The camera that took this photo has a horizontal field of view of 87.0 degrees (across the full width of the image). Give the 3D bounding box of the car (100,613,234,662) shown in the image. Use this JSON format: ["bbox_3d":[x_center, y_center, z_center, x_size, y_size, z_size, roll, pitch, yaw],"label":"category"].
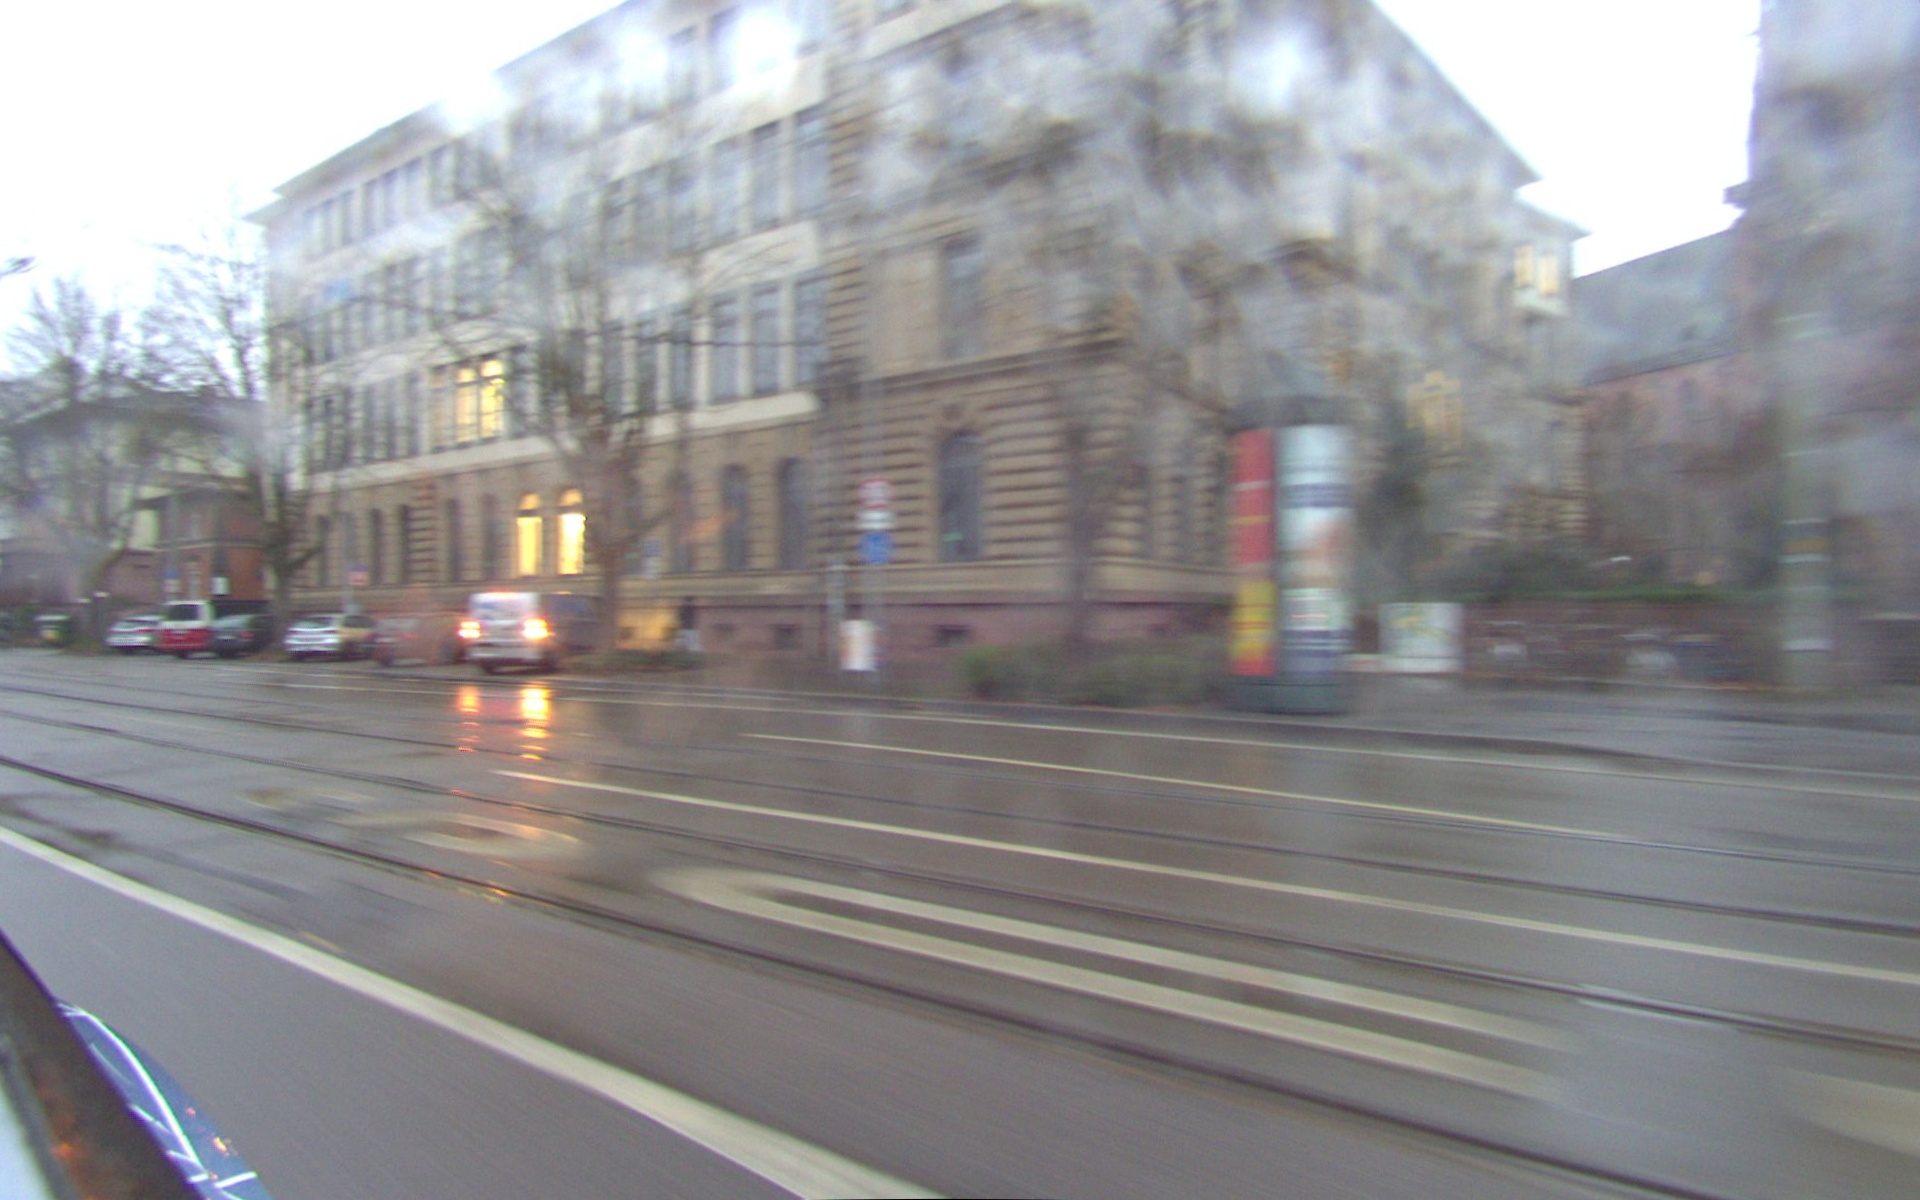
[{"bbox_3d":[-30.875,1.410,39.565,1.753,1.602,4.179,-1,1,4],"label":"car"}]

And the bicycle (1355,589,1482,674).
[{"bbox_3d":[9.755,0.661,21.570,2.392,1.701,0.714,-2,1,-5],"label":"bicycle"}]

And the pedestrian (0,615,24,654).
[{"bbox_3d":[-42.837,1.540,45.326,0.938,1.716,0.920,-1,1,12],"label":"pedestrian"}]

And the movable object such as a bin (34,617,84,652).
[{"bbox_3d":[-40.599,1.543,45.602,1.324,1.475,0.987,-2,1,-3],"label":"movable object such as a bin"}]

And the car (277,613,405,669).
[{"bbox_3d":[-19.273,1.234,31.700,1.614,1.468,3.827,-2,1,0],"label":"car"}]

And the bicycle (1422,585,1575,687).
[{"bbox_3d":[9.664,0.625,18.183,2.392,1.701,0.714,-2,1,-5],"label":"bicycle"}]

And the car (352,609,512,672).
[{"bbox_3d":[-14.900,1.087,28.878,1.779,1.468,4.468,-1,1,7],"label":"car"}]

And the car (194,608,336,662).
[{"bbox_3d":[-23.467,1.141,34.371,1.801,1.551,3.969,-1,1,6],"label":"car"}]

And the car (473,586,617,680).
[{"bbox_3d":[-10.294,0.729,25.523,1.884,2.049,4.809,-2,1,-4],"label":"car"}]

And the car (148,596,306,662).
[{"bbox_3d":[-26.015,0.976,36.155,1.942,2.069,4.614,-1,1,7],"label":"car"}]
